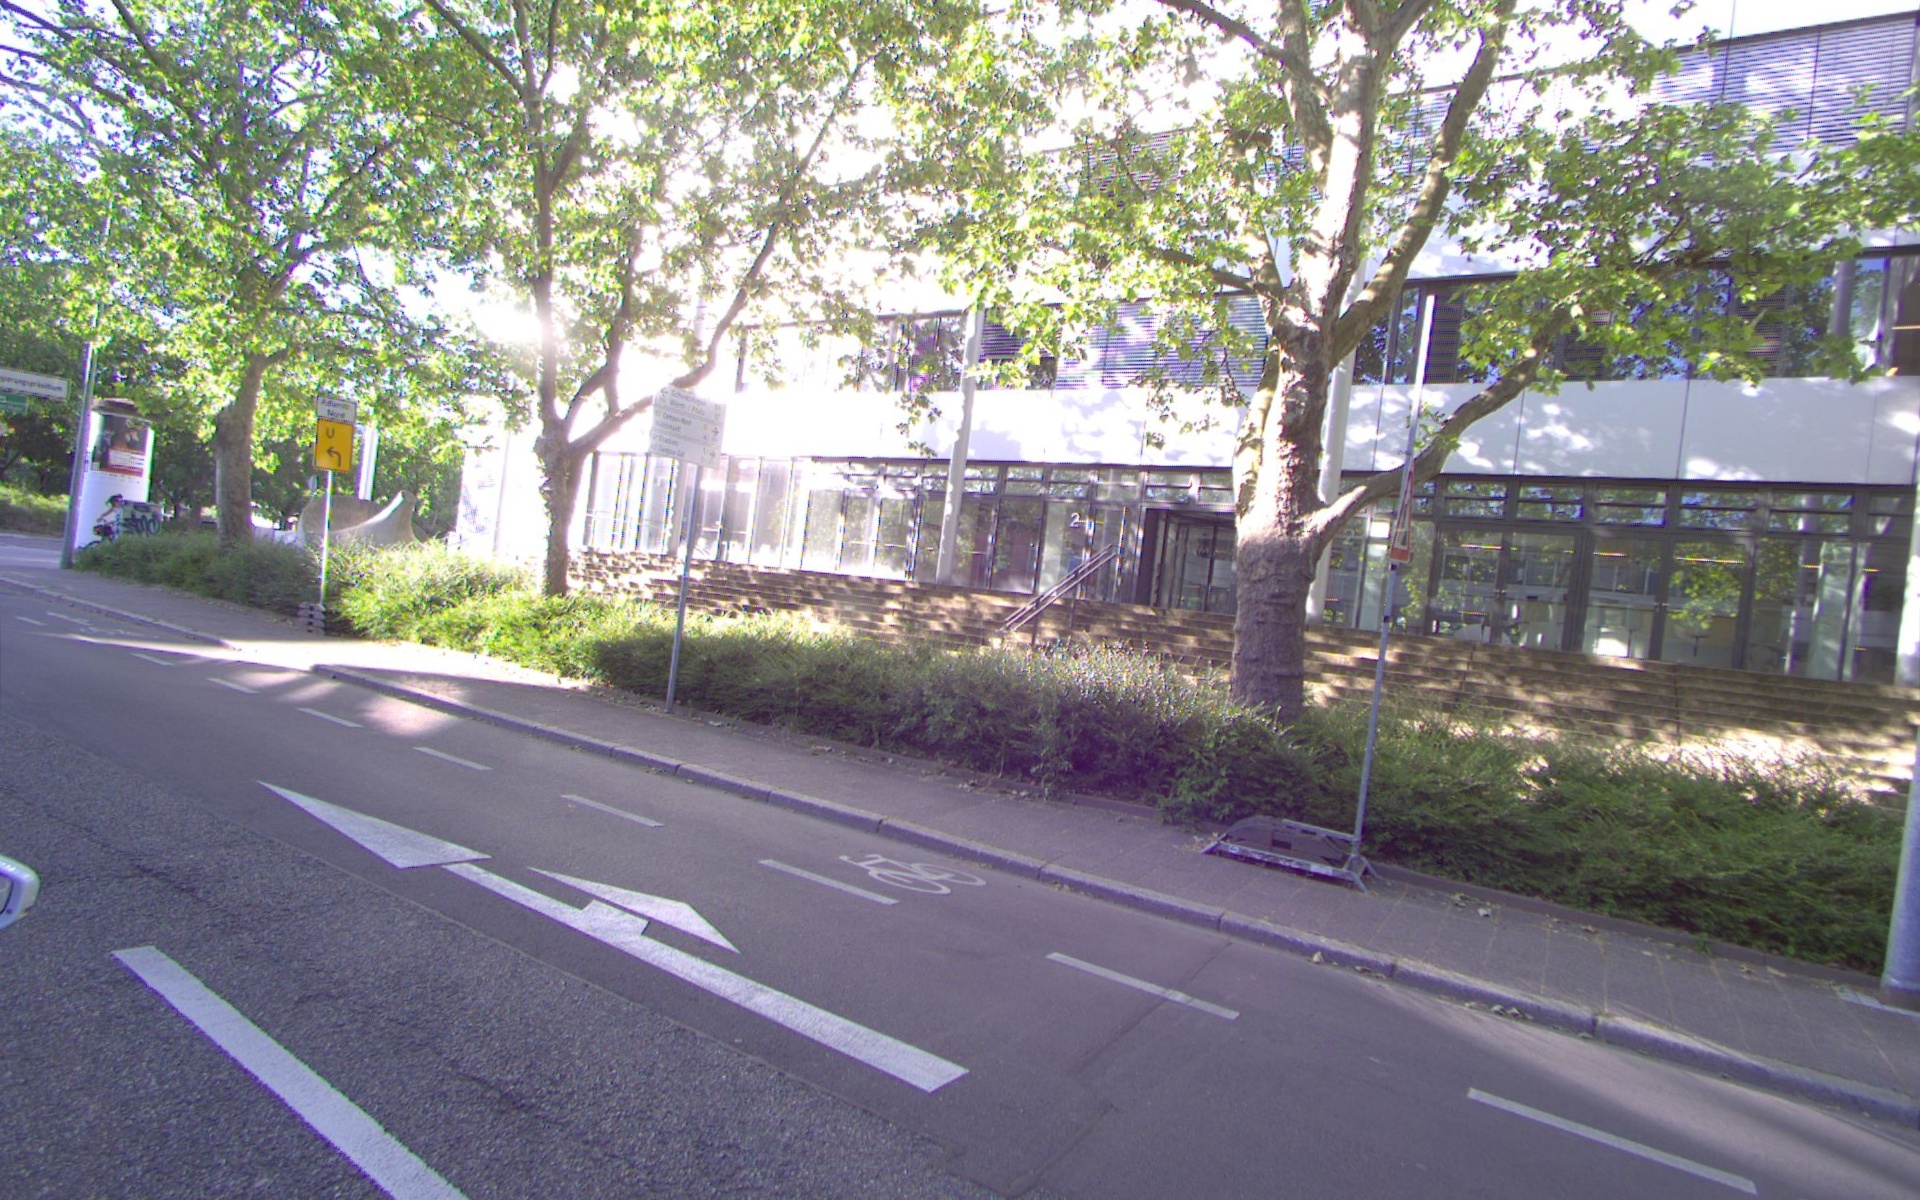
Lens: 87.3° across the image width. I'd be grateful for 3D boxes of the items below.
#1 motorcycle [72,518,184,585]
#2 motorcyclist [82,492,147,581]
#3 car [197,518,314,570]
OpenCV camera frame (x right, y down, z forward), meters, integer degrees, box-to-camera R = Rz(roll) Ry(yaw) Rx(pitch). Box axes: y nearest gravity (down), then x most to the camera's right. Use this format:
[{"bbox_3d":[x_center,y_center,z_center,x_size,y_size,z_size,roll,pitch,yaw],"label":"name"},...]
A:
[{"bbox_3d":[-19.230,-1.096,23.283,0.712,1.257,1.782,6,-2,37],"label":"motorcycle"},{"bbox_3d":[-19.356,-1.451,23.035,0.662,1.885,0.823,6,-1,37],"label":"motorcyclist"},{"bbox_3d":[-32.703,-2.567,46.825,1.708,1.792,3.996,7,-1,30],"label":"car"}]
